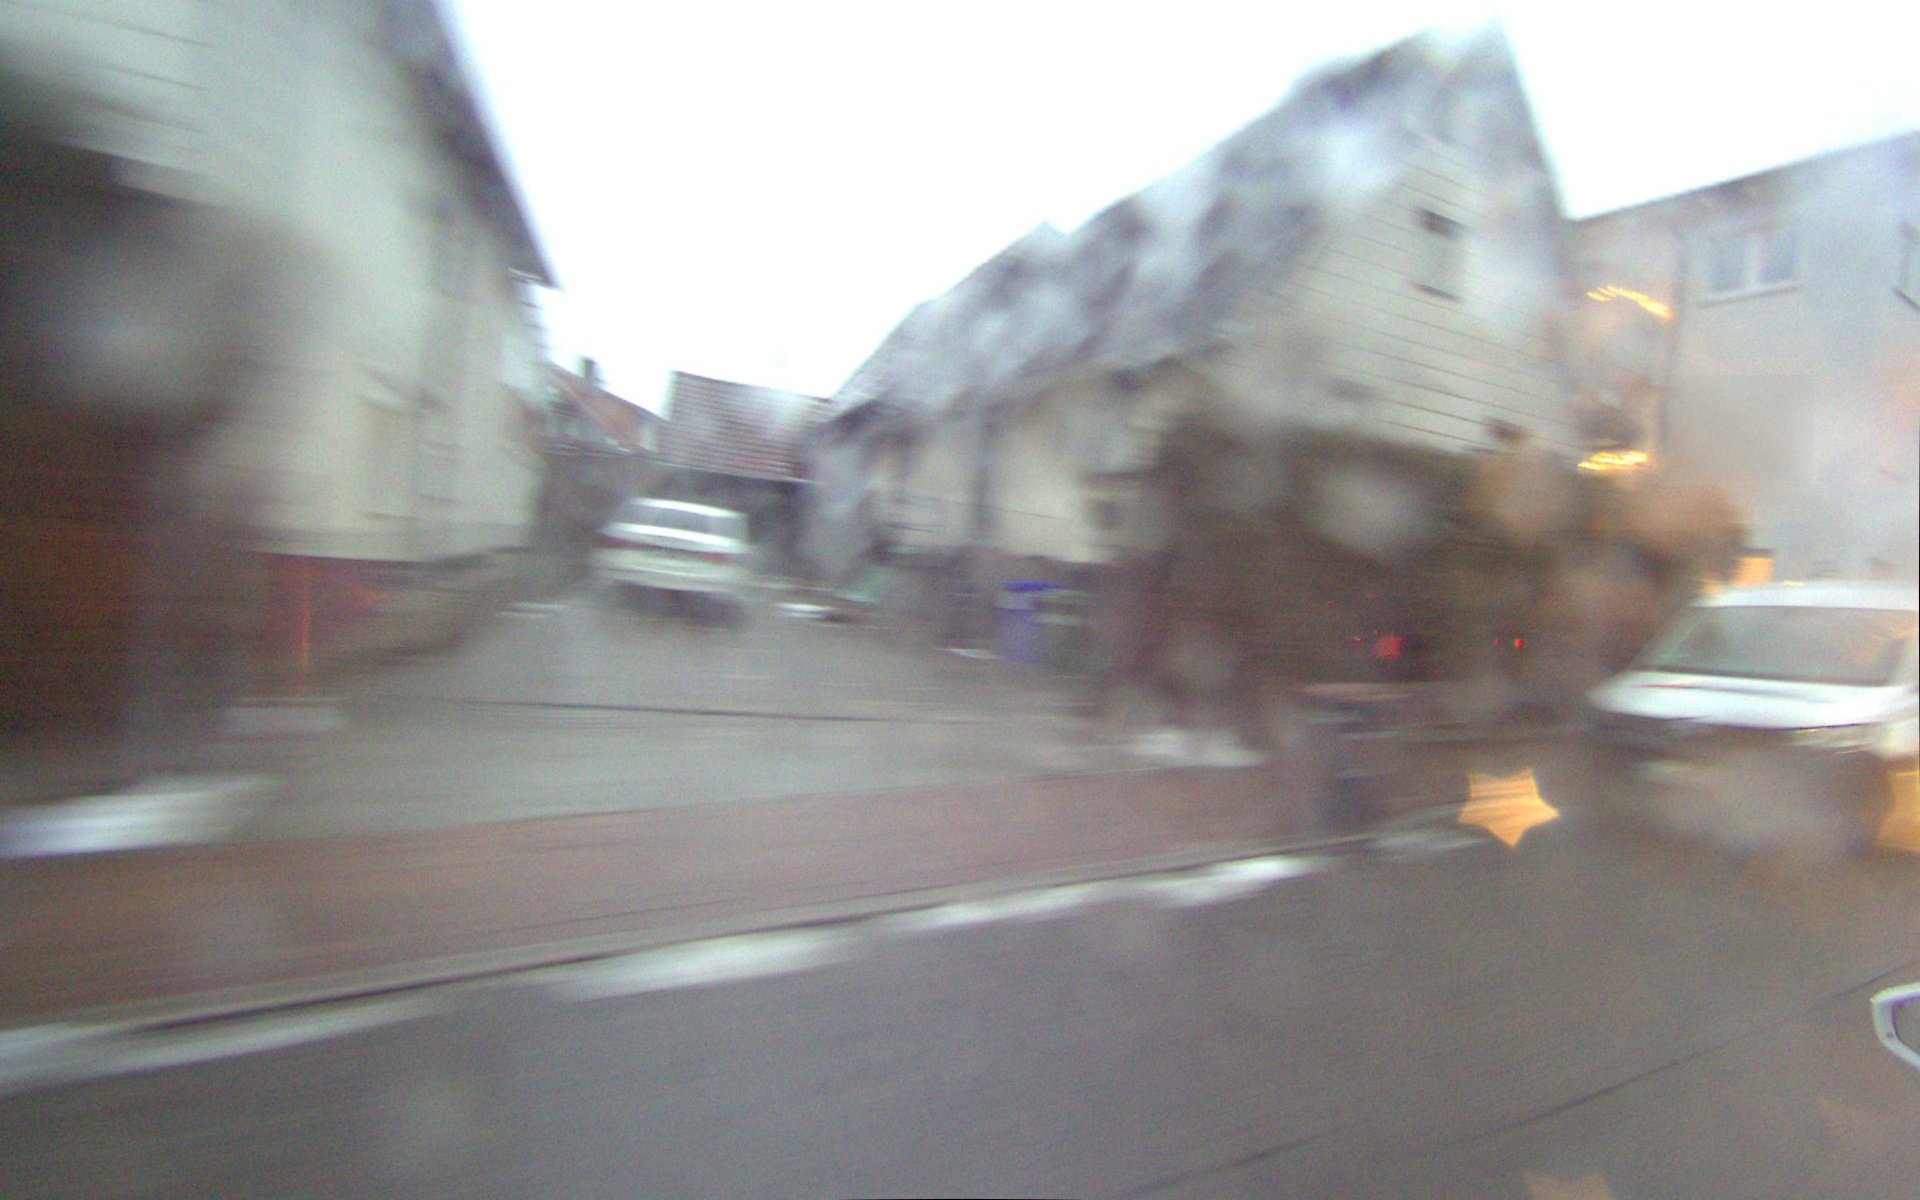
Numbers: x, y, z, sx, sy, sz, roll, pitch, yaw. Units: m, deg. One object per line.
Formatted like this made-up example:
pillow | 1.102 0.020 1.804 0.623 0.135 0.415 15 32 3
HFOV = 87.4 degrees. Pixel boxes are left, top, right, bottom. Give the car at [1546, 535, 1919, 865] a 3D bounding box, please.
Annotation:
car | 6.547 0.615 7.555 4.294 1.859 1.817 2 0 -30

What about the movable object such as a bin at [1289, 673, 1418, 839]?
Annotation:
movable object such as a bin | 2.546 0.981 6.513 0.593 0.929 0.480 -1 5 -33

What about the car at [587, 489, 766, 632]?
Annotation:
car | -3.818 -0.675 14.207 1.941 1.510 3.990 7 5 -11
